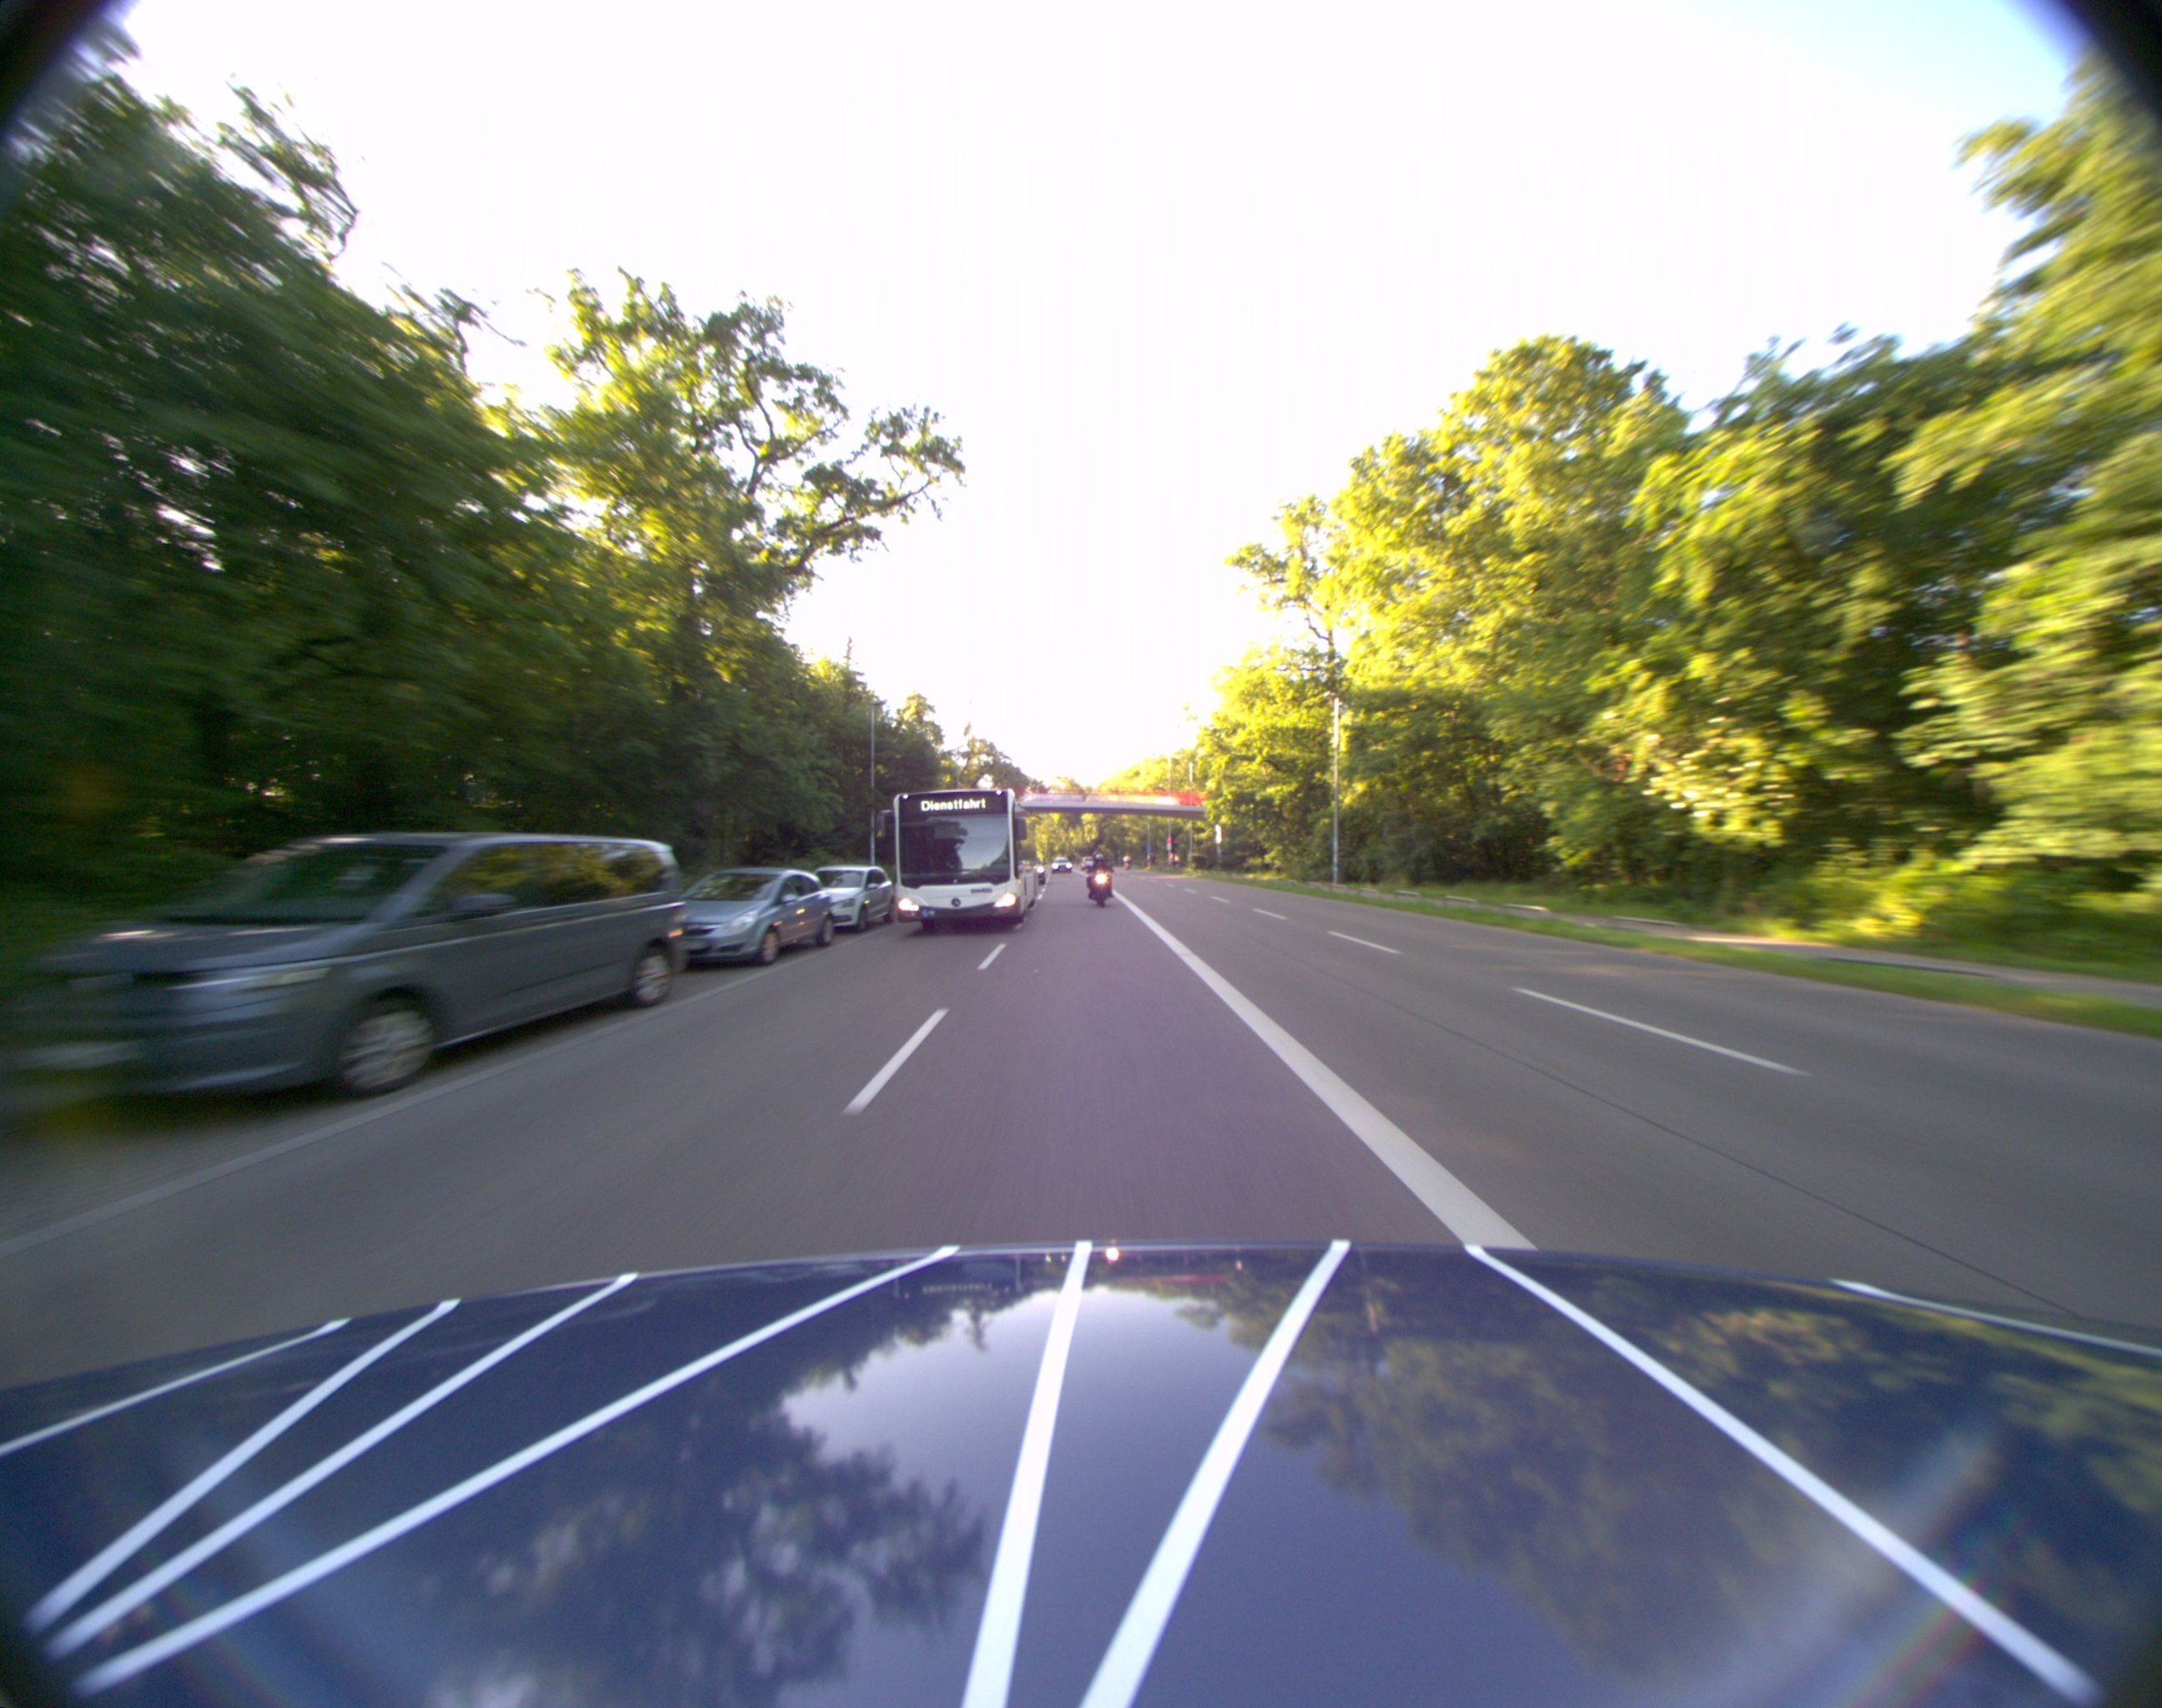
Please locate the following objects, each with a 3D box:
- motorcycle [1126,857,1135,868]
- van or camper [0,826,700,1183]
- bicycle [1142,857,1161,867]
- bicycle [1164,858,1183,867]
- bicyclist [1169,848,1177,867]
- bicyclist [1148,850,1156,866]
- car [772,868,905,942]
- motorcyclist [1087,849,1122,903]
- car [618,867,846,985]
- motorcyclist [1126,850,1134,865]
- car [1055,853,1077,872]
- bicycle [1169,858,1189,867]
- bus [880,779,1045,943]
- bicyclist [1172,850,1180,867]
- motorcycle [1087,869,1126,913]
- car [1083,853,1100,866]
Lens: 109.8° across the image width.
[{"bbox_3d":[4.981,0.859,76.780,0.638,0.989,2.076,-2,0,-2],"label":"motorcycle"},{"bbox_3d":[-5.685,0.815,6.705,1.897,1.937,5.134,0,0,2],"label":"van or camper"},{"bbox_3d":[7.289,0.816,78.881,1.930,0.929,0.825,-1,0,6],"label":"bicycle"},{"bbox_3d":[9.693,0.888,79.700,1.930,0.929,0.825,0,0,6],"label":"bicycle"},{"bbox_3d":[9.646,0.372,79.691,0.797,1.890,0.817,-1,0,6],"label":"bicyclist"},{"bbox_3d":[7.397,0.443,78.859,0.797,1.634,0.842,-1,0,6],"label":"bicyclist"},{"bbox_3d":[-5.549,1.098,17.942,1.732,1.433,4.100,-1,0,1],"label":"car"},{"bbox_3d":[0.697,0.647,22.862,0.953,1.523,1.074,-3,0,-1],"label":"motorcyclist"},{"bbox_3d":[-5.496,1.028,12.640,1.732,1.535,4.217,1,0,2],"label":"car"},{"bbox_3d":[4.979,0.374,76.891,0.726,1.496,0.671,-1,1,-2],"label":"motorcyclist"},{"bbox_3d":[-1.514,0.805,74.339,1.999,1.761,4.230,-1,0,-3],"label":"car"},{"bbox_3d":[10.103,0.876,78.350,1.930,0.929,0.825,-1,0,6],"label":"bicycle"},{"bbox_3d":[-2.640,0.115,21.243,2.711,3.203,12.277,-1,0,0],"label":"bus"},{"bbox_3d":[9.776,0.462,78.392,0.797,1.687,0.946,-1,0,6],"label":"bicyclist"},{"bbox_3d":[0.724,1.048,22.655,0.956,1.098,3.339,-3,0,0],"label":"motorcycle"},{"bbox_3d":[1.173,0.616,84.647,1.686,1.398,3.889,-2,0,-2],"label":"car"}]
